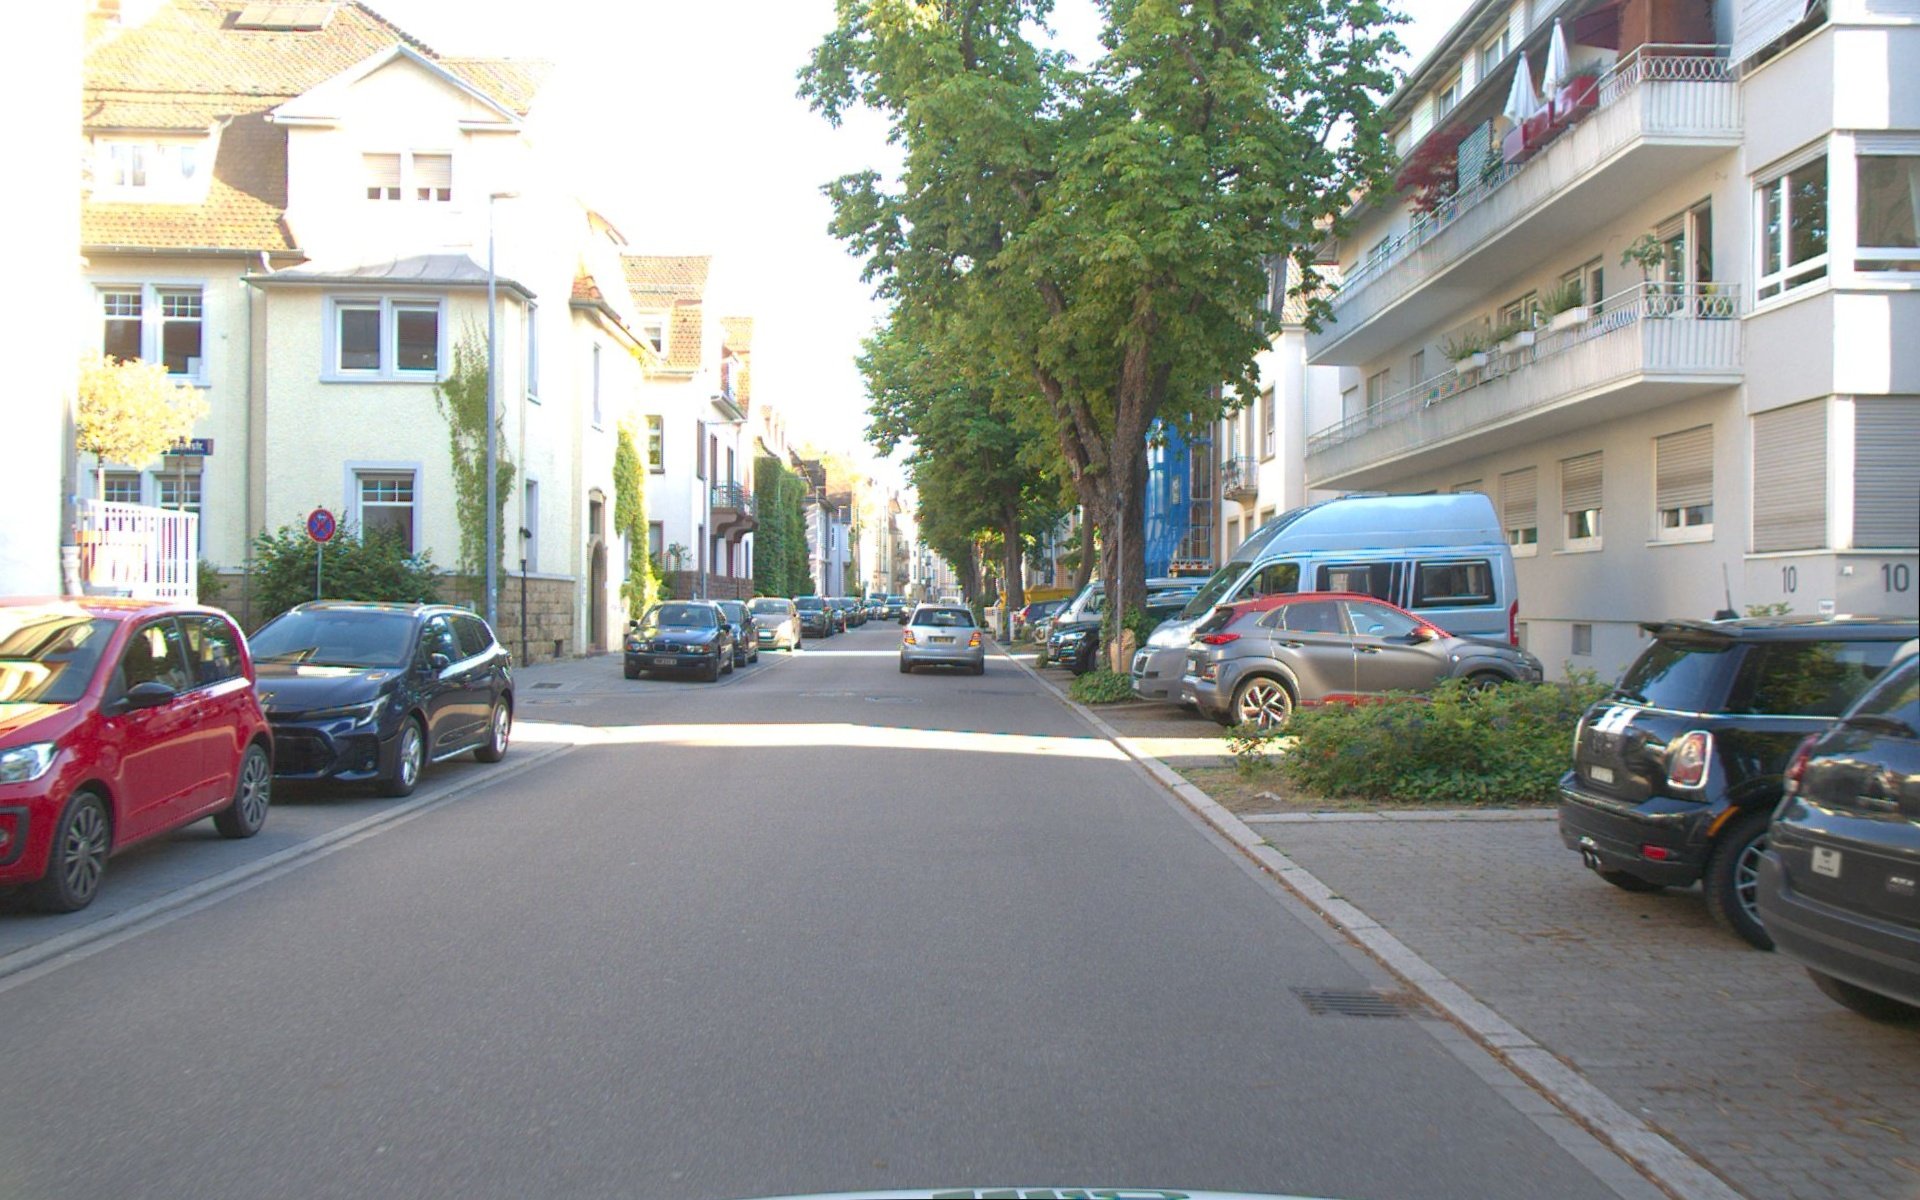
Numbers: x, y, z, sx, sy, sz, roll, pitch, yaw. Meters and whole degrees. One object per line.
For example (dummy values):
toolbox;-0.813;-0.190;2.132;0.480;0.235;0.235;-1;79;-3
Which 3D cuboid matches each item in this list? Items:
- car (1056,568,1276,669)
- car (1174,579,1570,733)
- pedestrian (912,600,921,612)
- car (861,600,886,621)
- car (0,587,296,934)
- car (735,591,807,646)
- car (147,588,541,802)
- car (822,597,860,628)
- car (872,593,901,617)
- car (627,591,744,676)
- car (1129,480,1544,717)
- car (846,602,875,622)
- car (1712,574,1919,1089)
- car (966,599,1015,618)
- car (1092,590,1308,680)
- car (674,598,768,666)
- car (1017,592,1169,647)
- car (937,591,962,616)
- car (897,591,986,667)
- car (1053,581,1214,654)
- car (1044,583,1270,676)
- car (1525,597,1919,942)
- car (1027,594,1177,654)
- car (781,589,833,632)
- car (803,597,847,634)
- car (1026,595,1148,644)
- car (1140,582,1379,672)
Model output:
car;4.312;0.390;35.130;4.380;2.049;1.895;0;0;-3
car;4.687;0.612;19.171;4.105;1.596;1.758;-1;0;-3
pedestrian;-6.482;0.910;247.145;1.195;1.752;1.503;1;0;2
car;-6.405;0.761;122.582;1.620;1.471;3.960;2;0;0
car;-5.039;0.695;9.049;1.550;1.502;3.703;2;0;-5
car;-5.432;0.512;47.906;1.620;1.472;4.004;2;0;-1
car;-4.955;0.674;14.058;1.620;1.479;4.630;2;0;-1
car;-5.979;0.618;83.552;1.616;1.445;4.098;2;0;-1
car;-4.657;0.311;104.747;1.736;1.474;3.999;0;0;-1
car;-5.262;0.598;32.242;1.675;1.496;4.631;2;0;-3
car;4.884;-0.033;21.976;4.992;2.953;2.075;-1;0;-2
car;-6.804;0.824;113.460;1.619;1.347;4.046;2;-1;1
car;5.005;0.695;5.534;4.216;1.568;1.757;0;0;-4
car;2.577;0.712;139.885;4.103;1.501;1.852;-2;-1;1
car;4.314;0.628;30.050;3.646;1.581;1.638;0;-1;-3
car;-5.456;0.704;38.137;1.620;1.440;4.166;2;0;-2
car;4.162;0.604;52.241;4.622;1.562;1.850;-1;0;-1
car;-0.701;0.215;107.823;1.590;1.597;3.680;1;0;0
car;-0.369;0.603;34.855;1.747;1.462;3.850;1;-1;0
car;4.294;0.415;41.291;3.867;1.712;1.706;-1;0;2
car;3.808;0.566;32.326;4.097;1.754;1.762;0;-1;-8
car;4.729;0.718;8.062;3.333;1.452;1.758;-1;0;-1
car;4.022;0.670;47.245;4.071;1.566;1.850;-1;0;-1
car;-5.701;0.386;62.043;1.620;1.512;3.764;2;0;-1
car;-5.863;0.657;72.295;1.757;1.487;4.774;2;0;-3
car;4.172;0.641;54.801;3.905;1.518;1.851;-1;0;0
car;4.936;0.459;27.581;3.646;1.456;1.758;0;-2;-2
